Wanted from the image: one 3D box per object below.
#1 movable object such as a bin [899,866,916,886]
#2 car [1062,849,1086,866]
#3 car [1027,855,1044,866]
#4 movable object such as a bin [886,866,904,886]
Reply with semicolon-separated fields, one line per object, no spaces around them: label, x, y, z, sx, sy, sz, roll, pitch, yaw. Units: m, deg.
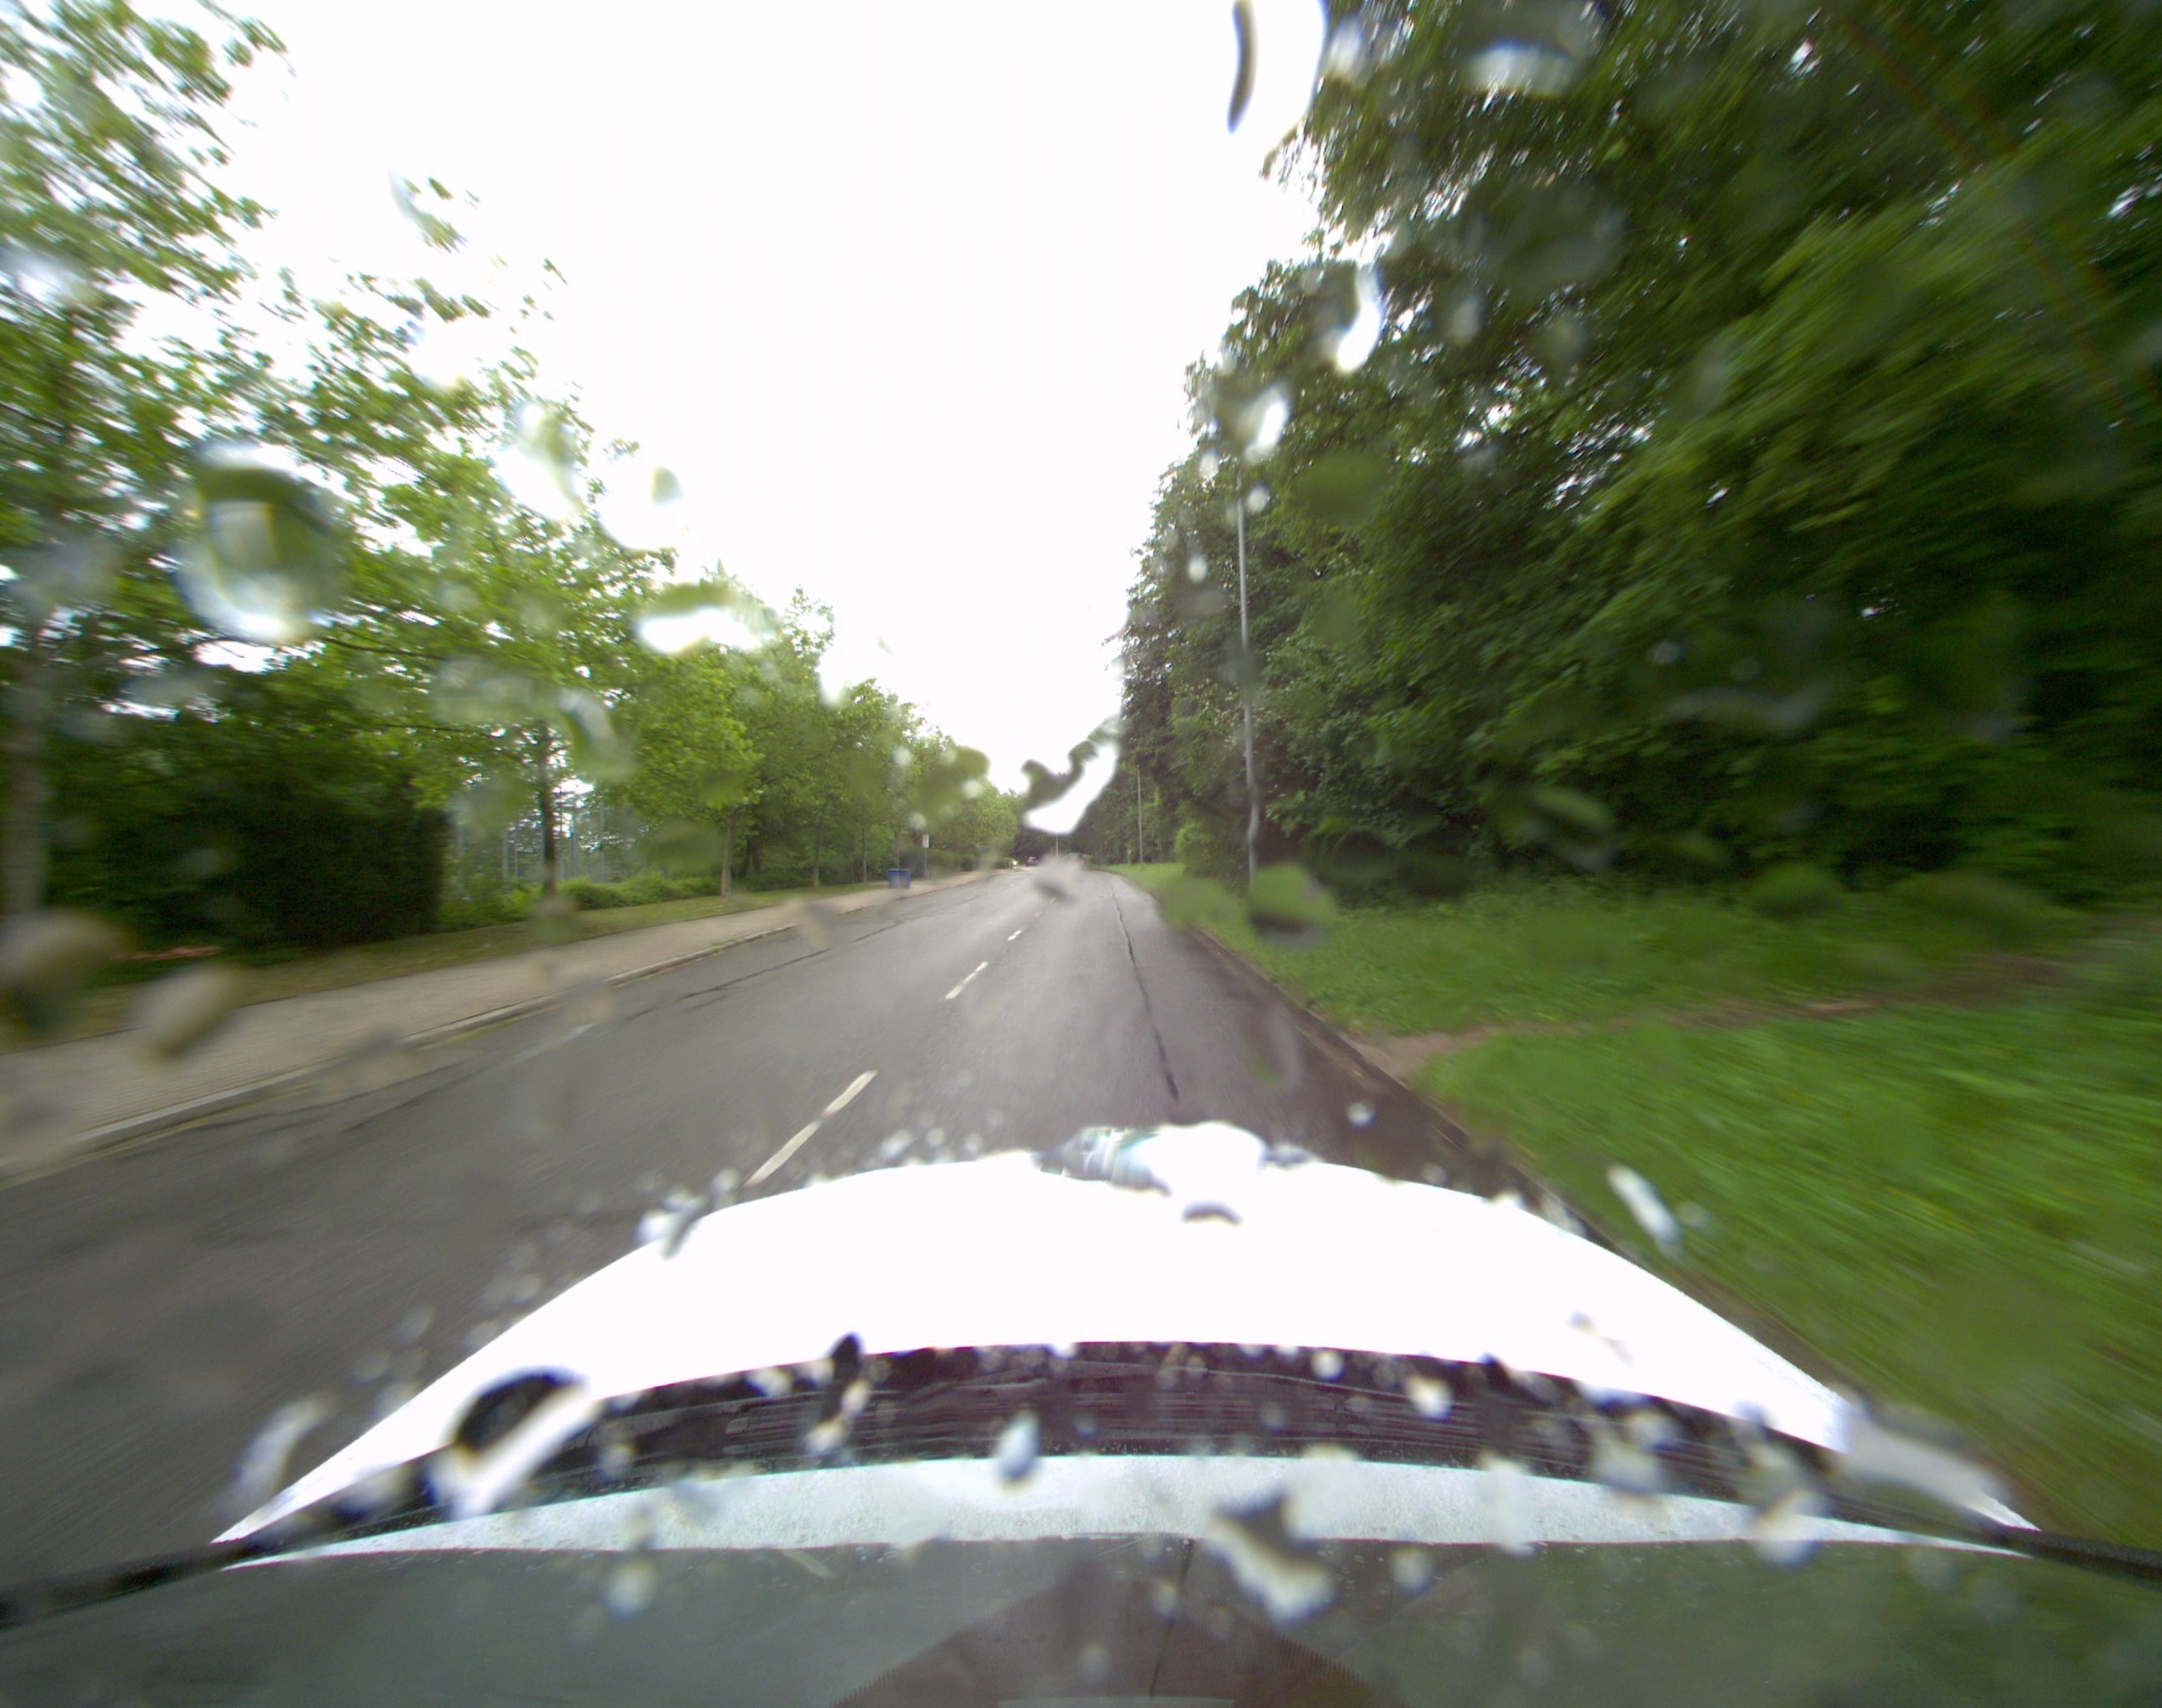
movable object such as a bin;-9.757;1.234;45.797;0.670;1.026;0.827;-4;0;-30
car;-0.809;0.337;88.542;1.994;1.793;3.987;1;1;-10
car;-7.446;1.068;132.254;1.996;1.772;3.981;-3;0;-14
movable object such as a bin;-10.389;1.227;45.448;0.670;1.026;0.827;-4;0;-30
